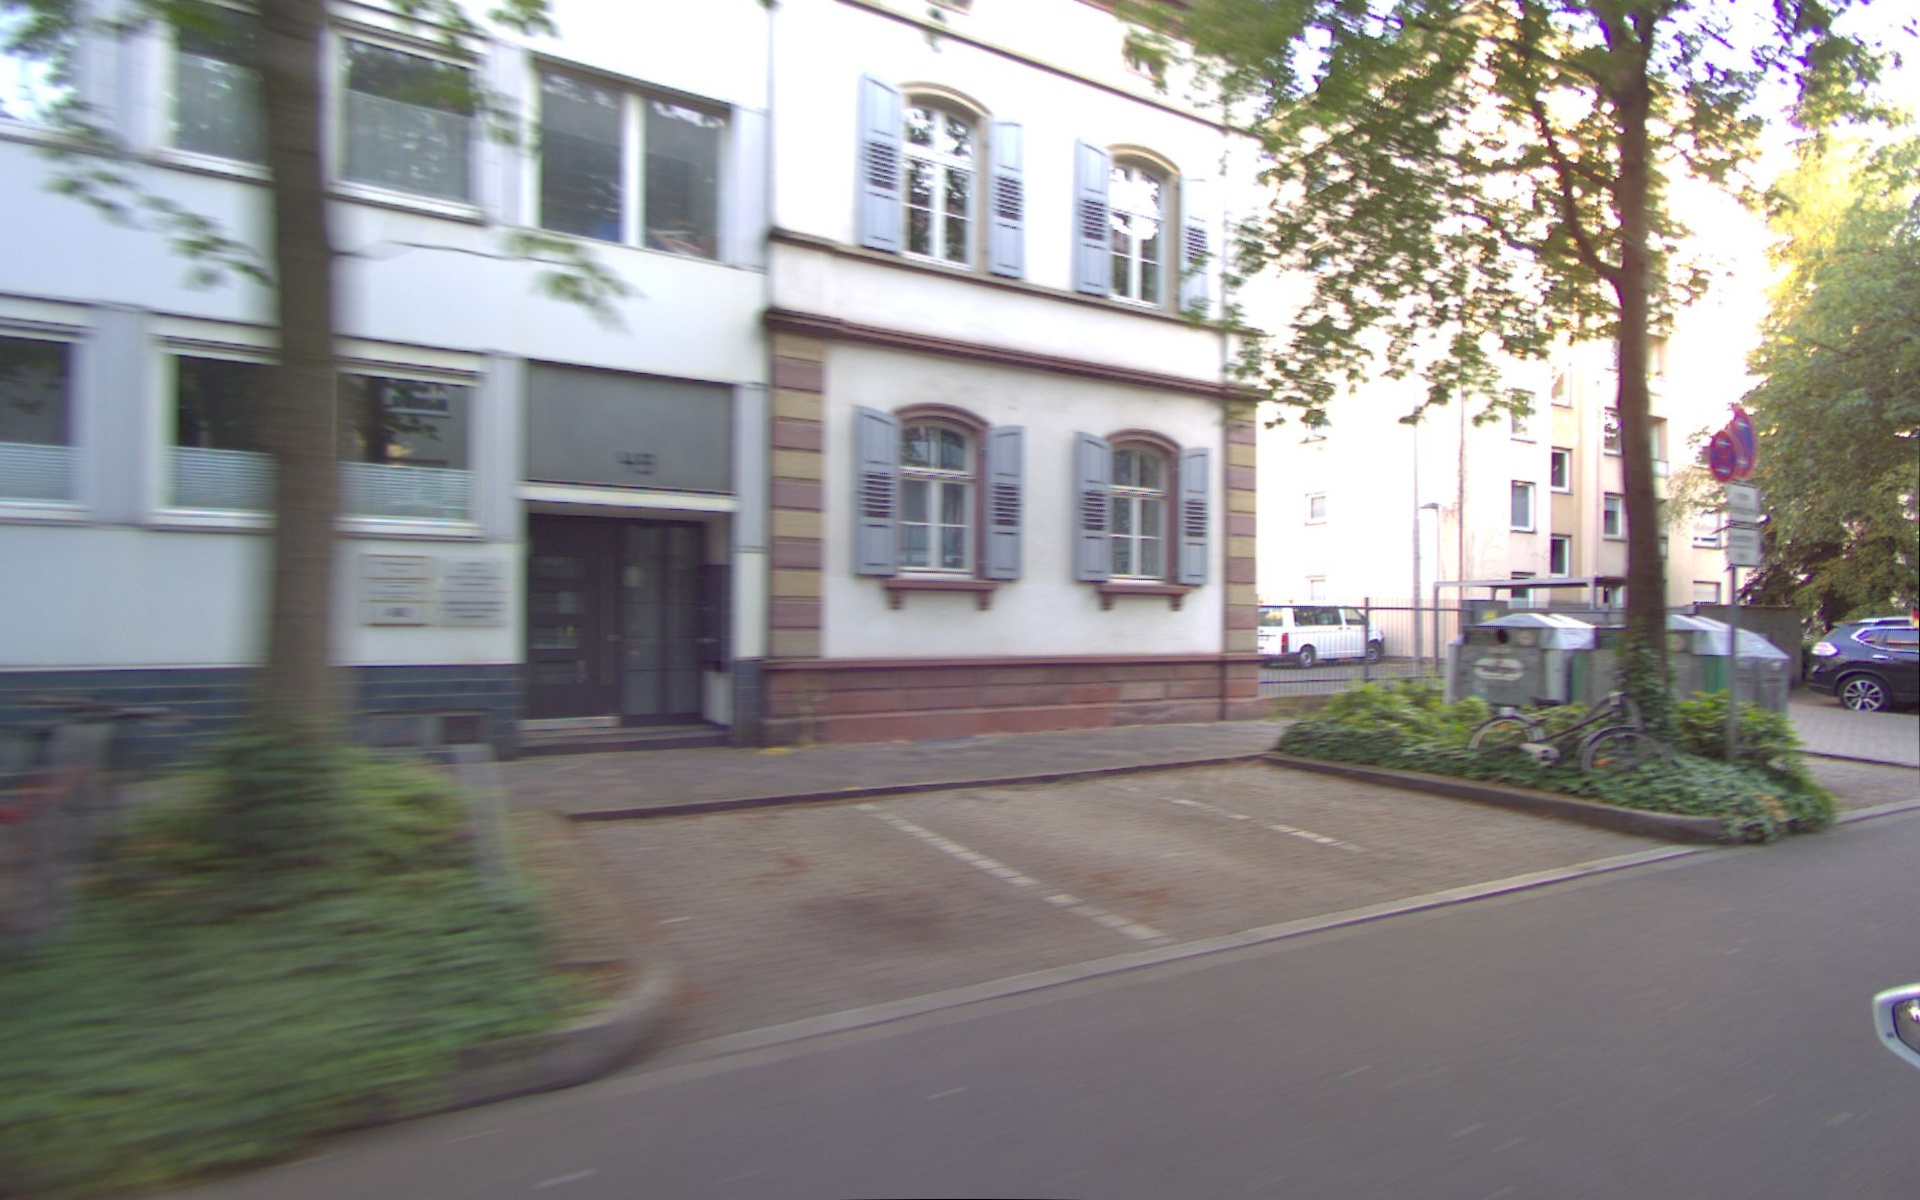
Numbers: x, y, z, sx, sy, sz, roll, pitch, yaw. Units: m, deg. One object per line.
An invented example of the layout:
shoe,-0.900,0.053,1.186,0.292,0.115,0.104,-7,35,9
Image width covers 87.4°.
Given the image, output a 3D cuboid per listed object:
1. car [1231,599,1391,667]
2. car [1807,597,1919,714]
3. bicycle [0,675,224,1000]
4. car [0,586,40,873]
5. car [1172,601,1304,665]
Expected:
car,10.797,0.992,30.866,4.642,1.948,2.044,1,-1,-27
car,17.486,0.953,16.959,1.976,1.981,4.484,1,-1,-30
bicycle,-3.159,0.733,3.545,0.605,0.841,1.548,1,-1,-25
car,-5.570,0.706,3.603,2.133,1.643,4.834,1,-1,-28
car,9.137,1.056,32.979,3.950,1.973,1.985,1,-1,-28
